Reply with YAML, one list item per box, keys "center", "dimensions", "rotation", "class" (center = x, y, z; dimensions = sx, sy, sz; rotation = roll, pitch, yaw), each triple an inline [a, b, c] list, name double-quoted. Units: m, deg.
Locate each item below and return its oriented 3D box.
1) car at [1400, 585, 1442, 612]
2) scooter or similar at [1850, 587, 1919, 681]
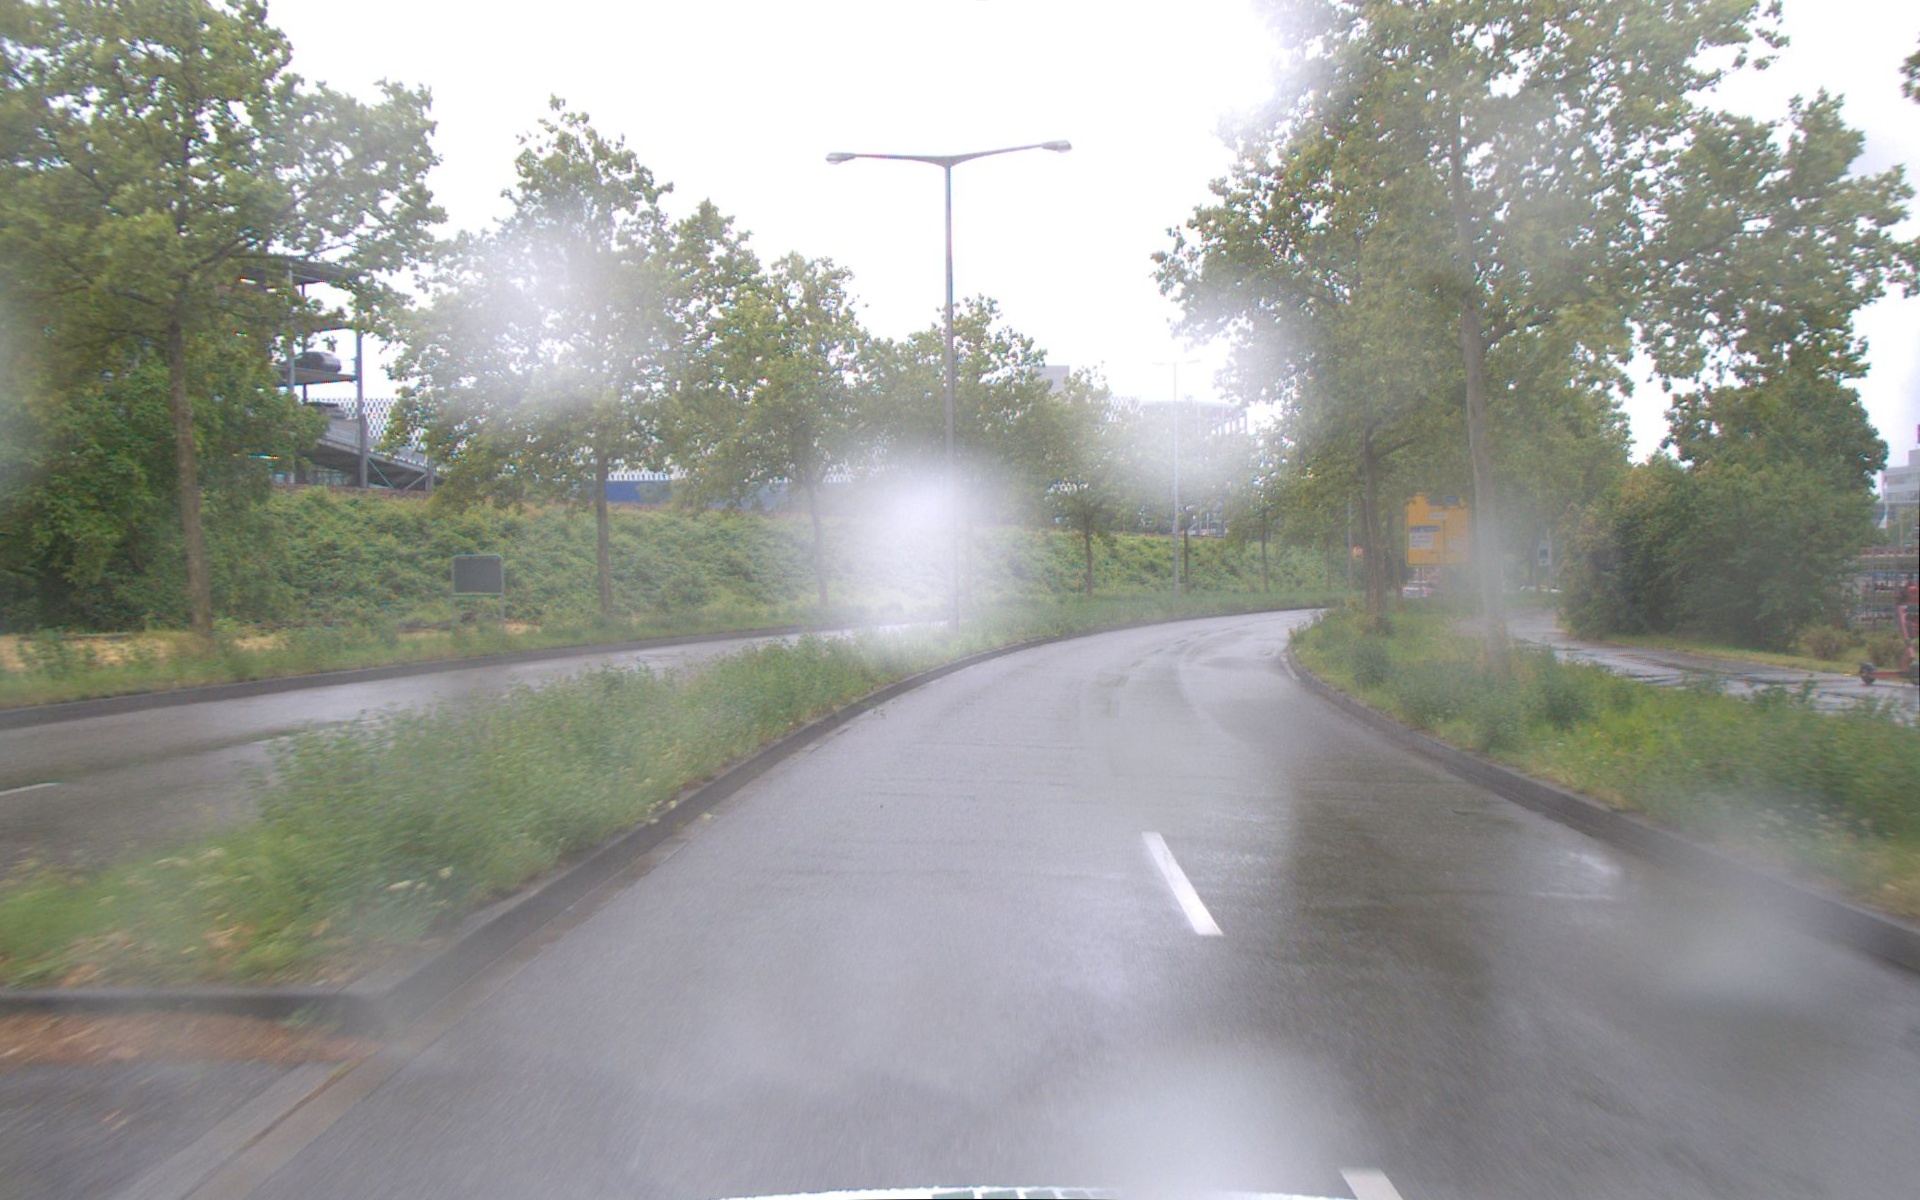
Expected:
- center: [28.330, -0.120, 101.647]
  dimensions: [1.745, 1.582, 3.996]
  rotation: [2, 1, 26]
  class: "car"
- center: [12.482, 0.437, 22.050]
  dimensions: [0.538, 1.219, 1.110]
  rotation: [0, 0, -8]
  class: "scooter or similar"
